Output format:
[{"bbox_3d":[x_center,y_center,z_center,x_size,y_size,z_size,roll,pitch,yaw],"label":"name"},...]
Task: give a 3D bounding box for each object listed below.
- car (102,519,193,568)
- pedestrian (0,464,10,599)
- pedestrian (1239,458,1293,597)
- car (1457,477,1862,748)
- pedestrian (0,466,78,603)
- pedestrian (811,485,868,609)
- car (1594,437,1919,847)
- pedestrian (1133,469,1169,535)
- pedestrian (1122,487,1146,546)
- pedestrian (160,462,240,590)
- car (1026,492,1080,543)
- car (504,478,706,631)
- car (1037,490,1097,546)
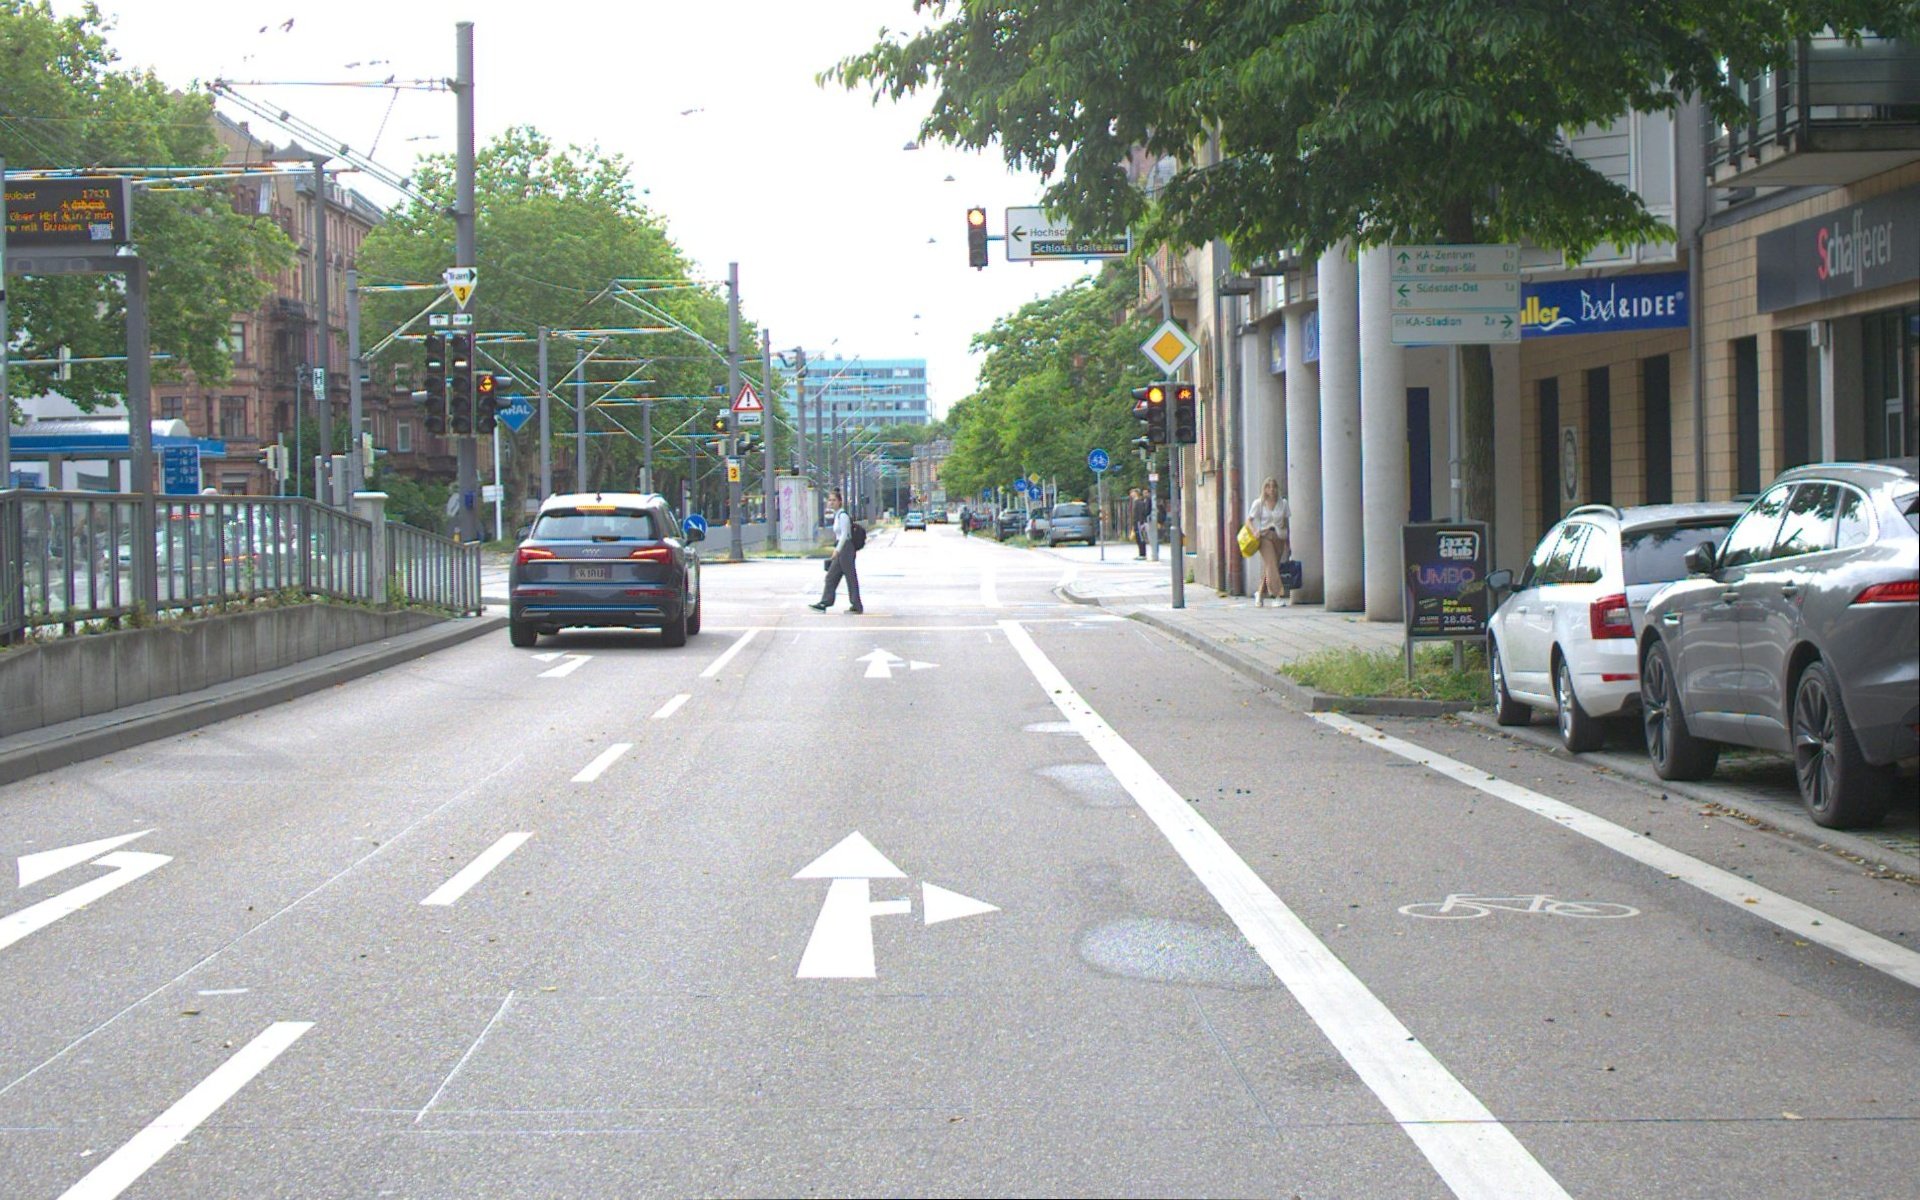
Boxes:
[{"bbox_3d":[-22.662,-1.589,95.997,1.634,1.321,4.000,1,1,-1],"label":"car"},{"bbox_3d":[-13.351,-0.925,46.259,1.011,1.807,0.585,0,1,-23],"label":"pedestrian"},{"bbox_3d":[4.019,-0.955,45.169,0.615,1.799,0.737,-1,2,1],"label":"pedestrian"},{"bbox_3d":[4.400,0.015,22.256,1.676,1.493,4.390,-3,1,0],"label":"car"},{"bbox_3d":[-12.113,-0.854,44.848,1.130,1.772,0.628,-1,1,-18],"label":"pedestrian"},{"bbox_3d":[-1.620,-0.717,46.272,0.728,1.656,0.756,1,1,-1],"label":"pedestrian"},{"bbox_3d":[4.532,0.080,16.861,1.711,1.711,4.712,-3,1,-2],"label":"car"},{"bbox_3d":[4.865,-2.494,87.560,0.850,1.648,0.508,1,1,-3],"label":"pedestrian"},{"bbox_3d":[4.550,-2.187,89.744,0.545,1.531,0.466,1,1,-5],"label":"pedestrian"},{"bbox_3d":[-10.638,-1.042,48.142,0.917,1.778,0.646,2,2,37],"label":"pedestrian"},{"bbox_3d":[3.683,-3.283,136.745,1.993,2.007,4.000,1,1,-1],"label":"car"},{"bbox_3d":[-3.854,-0.530,37.945,1.880,1.596,4.358,0,2,-1],"label":"car"},{"bbox_3d":[3.939,-3.037,127.312,1.993,2.007,4.000,1,1,-1],"label":"car"}]
